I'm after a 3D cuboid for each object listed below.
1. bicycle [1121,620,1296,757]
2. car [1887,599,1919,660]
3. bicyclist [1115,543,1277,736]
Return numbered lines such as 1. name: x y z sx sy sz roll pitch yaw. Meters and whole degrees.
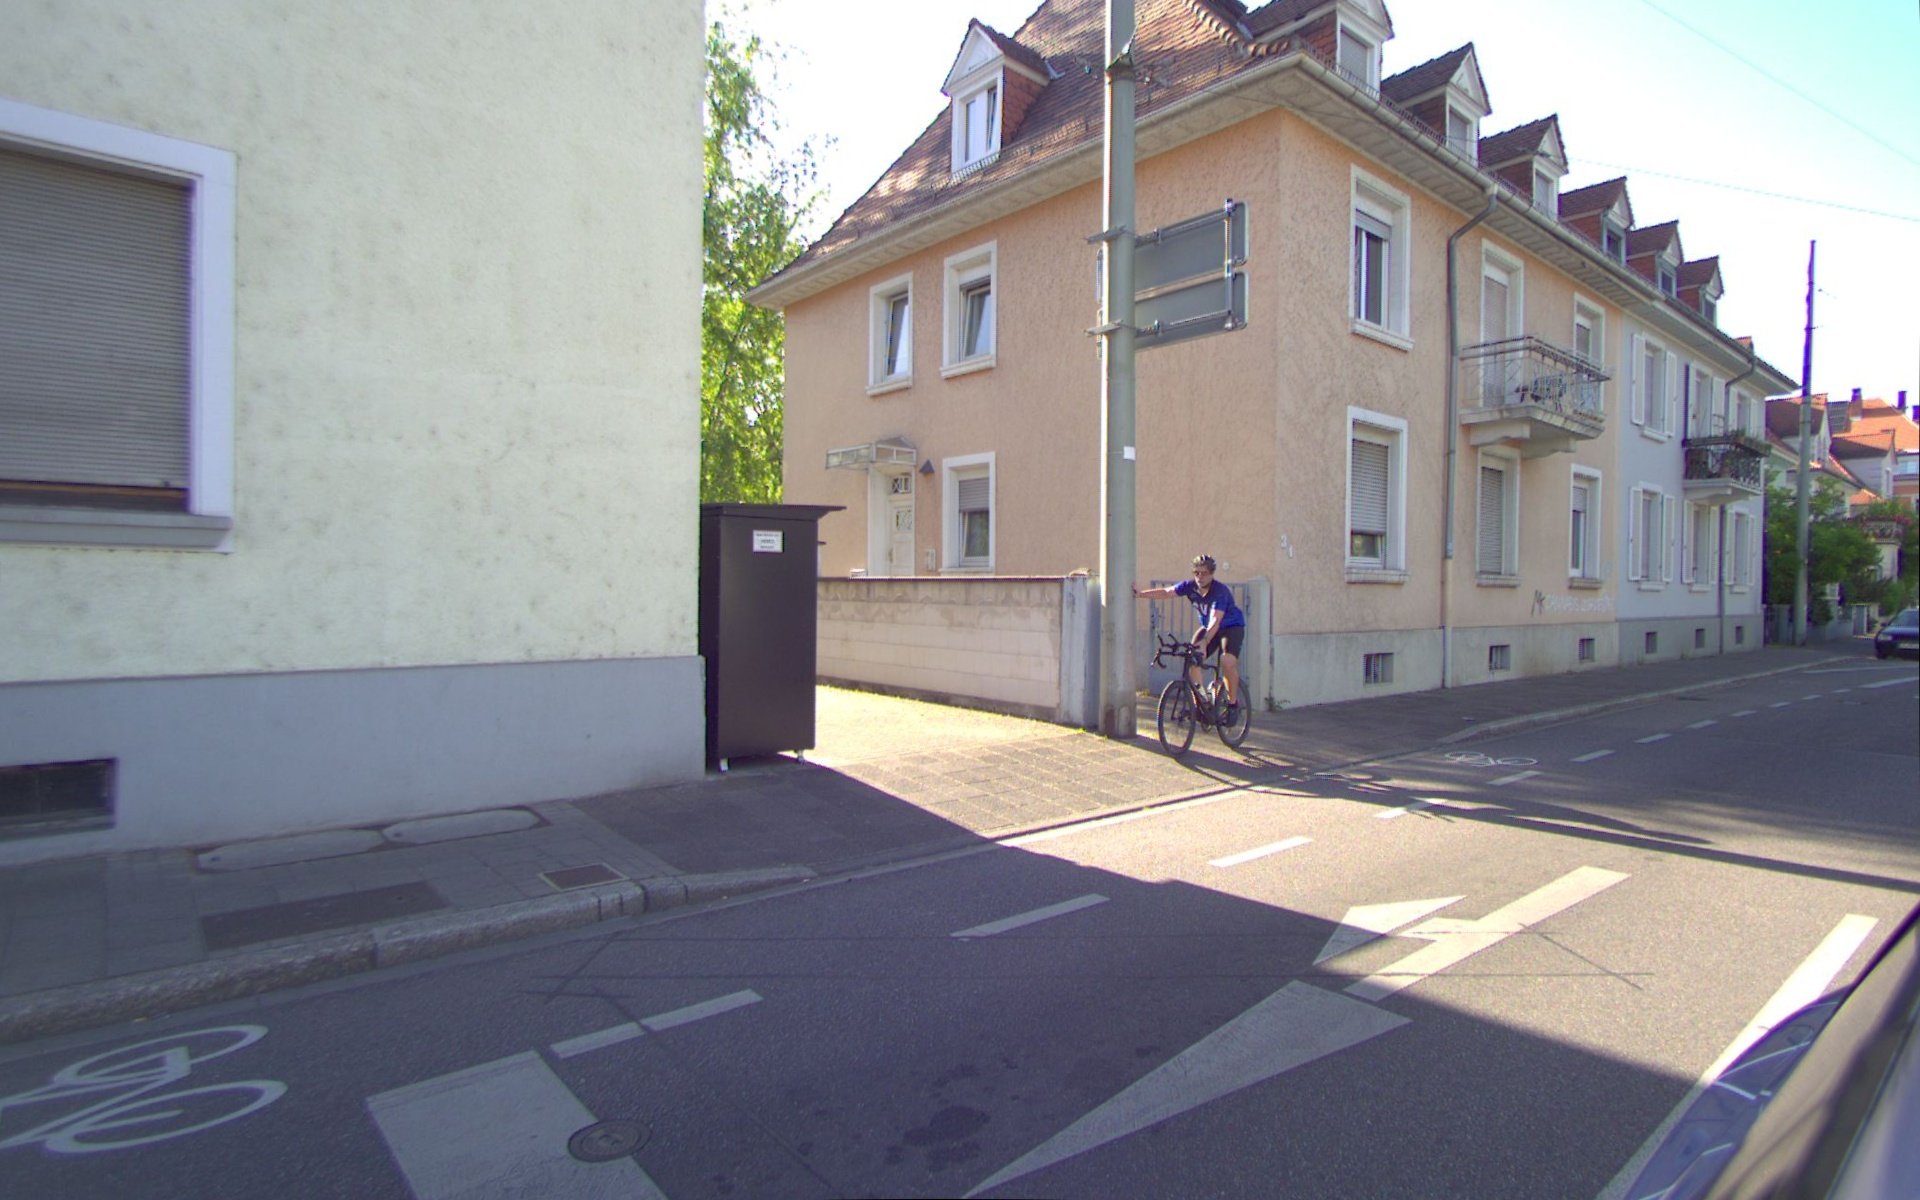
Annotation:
1. bicycle: 2.323 0.765 9.344 1.744 1.081 0.592 0 5 -41
2. car: 26.695 0.759 27.360 3.742 1.601 1.696 0 -1 -36
3. bicyclist: 2.197 0.326 9.485 0.870 1.627 1.052 1 5 -41
